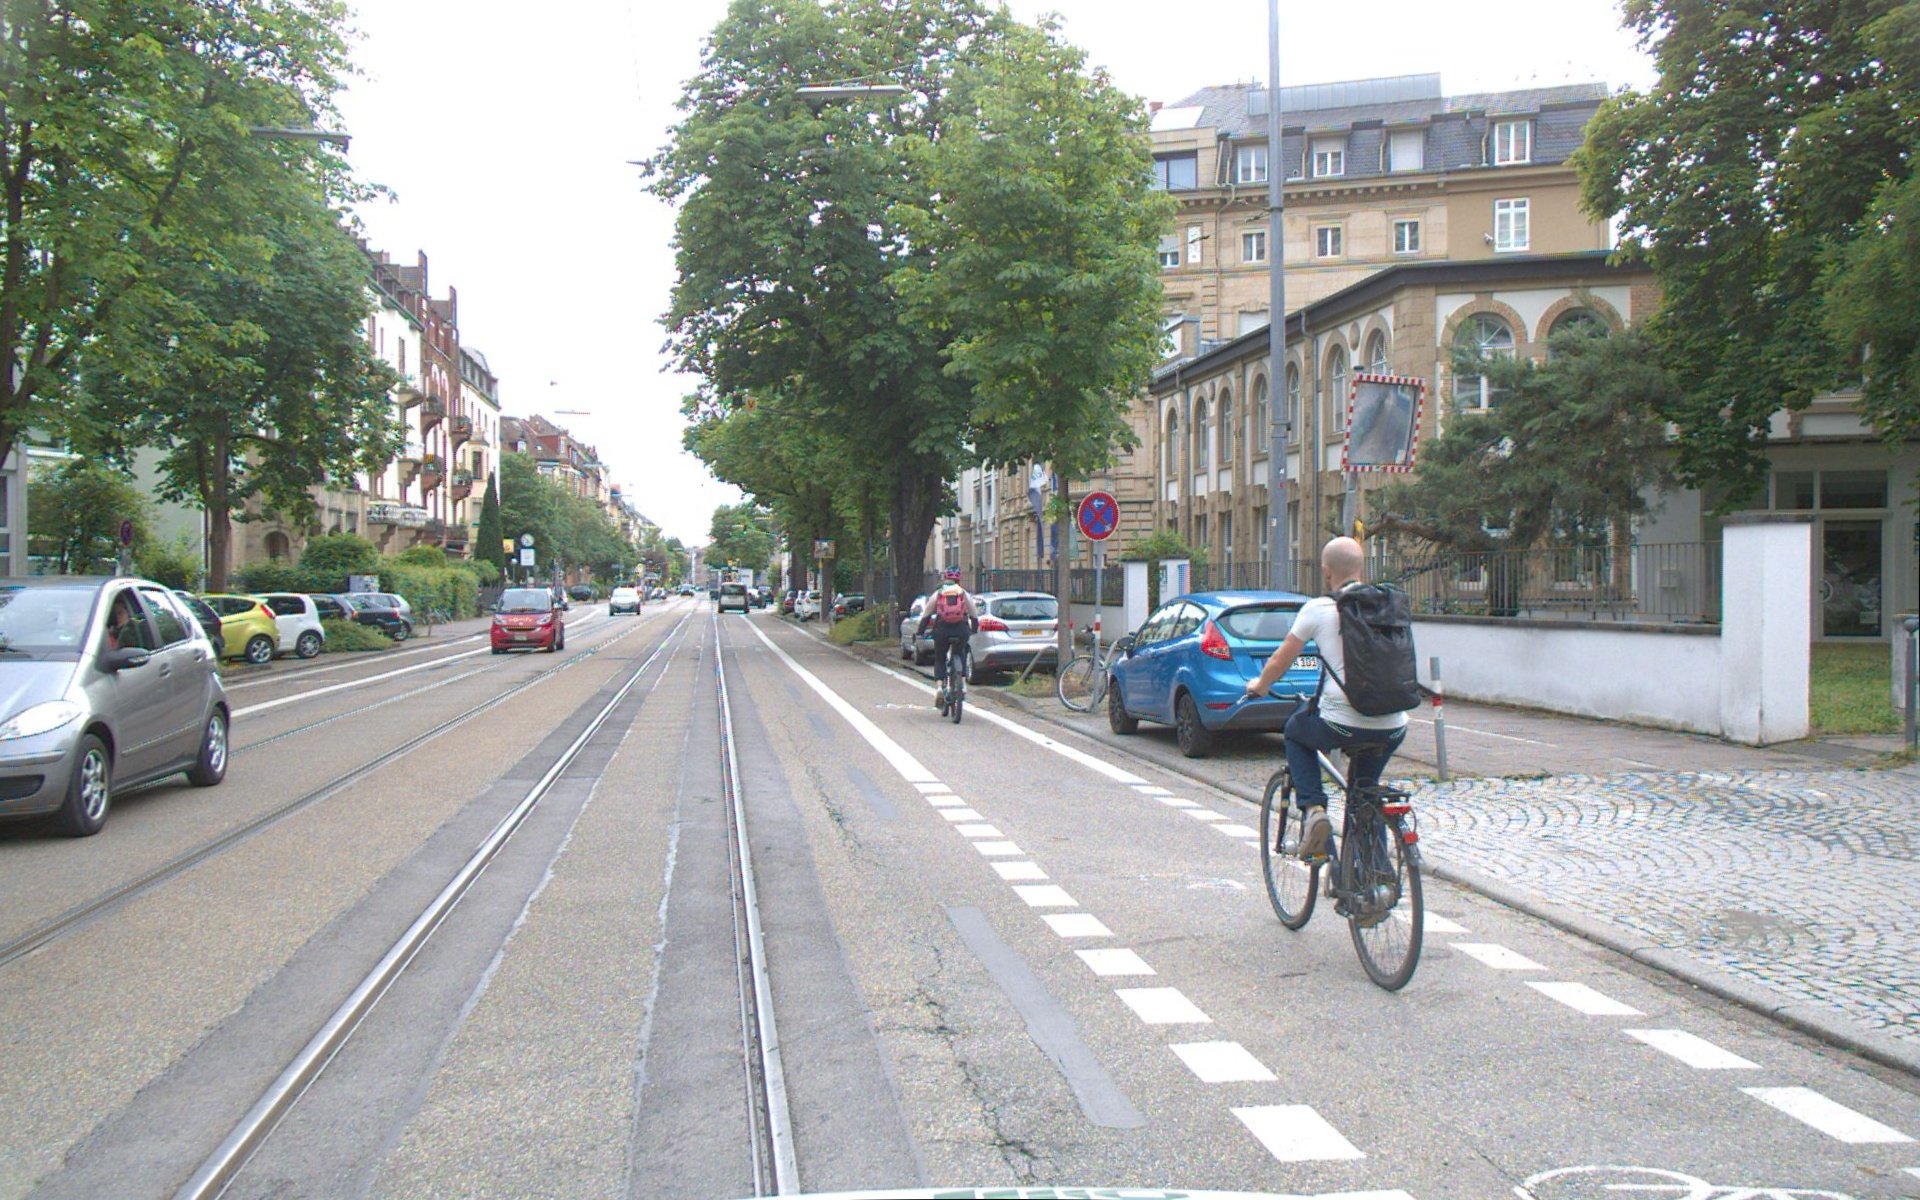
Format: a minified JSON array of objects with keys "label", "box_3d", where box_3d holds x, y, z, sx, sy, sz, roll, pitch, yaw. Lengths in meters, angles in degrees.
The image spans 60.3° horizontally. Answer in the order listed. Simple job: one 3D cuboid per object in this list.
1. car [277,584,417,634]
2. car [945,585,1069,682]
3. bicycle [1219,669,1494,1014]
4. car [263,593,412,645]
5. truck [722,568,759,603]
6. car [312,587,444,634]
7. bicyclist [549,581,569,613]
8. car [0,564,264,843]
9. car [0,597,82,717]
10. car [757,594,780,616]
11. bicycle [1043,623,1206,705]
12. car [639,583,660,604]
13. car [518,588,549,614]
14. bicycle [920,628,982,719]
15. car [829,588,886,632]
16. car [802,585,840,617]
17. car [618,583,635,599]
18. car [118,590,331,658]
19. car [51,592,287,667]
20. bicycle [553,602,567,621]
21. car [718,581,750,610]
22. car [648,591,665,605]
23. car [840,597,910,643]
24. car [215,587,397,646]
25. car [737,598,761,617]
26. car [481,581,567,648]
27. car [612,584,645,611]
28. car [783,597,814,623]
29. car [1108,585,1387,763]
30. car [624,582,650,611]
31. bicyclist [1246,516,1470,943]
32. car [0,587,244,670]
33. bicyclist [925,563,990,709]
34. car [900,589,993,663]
[{"label":"car","box_3d":[-18.337,0.279,49.491,3.673,1.410,1.681,1,0,-33]},{"label":"car","box_3d":[0.728,0.515,27.821,1.448,1.507,3.558,1,0,-9]},{"label":"bicycle","box_3d":[1.584,0.917,6.929,0.650,1.136,1.866,2,1,-1]},{"label":"car","box_3d":[-17.570,0.531,46.699,3.673,1.410,1.681,1,0,-33]},{"label":"truck","box_3d":[-26.587,-1.799,200.058,3.740,4.100,10.189,-1,1,-12]},{"label":"car","box_3d":[-18.488,0.345,52.597,3.673,1.410,1.681,1,0,-33]},{"label":"bicyclist","box_3d":[-19.618,-0.138,80.931,0.827,1.526,1.025,-1,0,-8]},{"label":"car","box_3d":[-6.163,0.585,11.064,1.865,1.557,3.747,-2,1,-9]},{"label":"car","box_3d":[-13.393,0.709,20.320,1.666,1.479,4.330,1,0,36]},{"label":"car","box_3d":[-18.711,0.450,161.365,1.957,2.049,3.990,-1,1,-10]},{"label":"bicycle","box_3d":[2.066,0.791,20.779,1.977,0.973,0.532,-1,1,-13]},{"label":"car","box_3d":[-34.995,-0.772,186.417,2.164,2.295,3.992,-1,1,-9]},{"label":"car","box_3d":[-37.701,0.080,146.303,2.136,2.246,4.211,-1,1,-8]},{"label":"bicycle","box_3d":[-0.122,0.832,19.324,0.480,0.997,2.054,1,-1,-7]},{"label":"car","box_3d":[-3.575,0.326,57.174,1.757,1.423,3.790,-1,1,-6]},{"label":"car","box_3d":[-6.415,0.043,75.957,1.635,1.423,3.656,-1,1,-6]},{"label":"car","box_3d":[-46.412,-1.274,230.078,1.785,2.103,3.876,-1,1,-5]},{"label":"car","box_3d":[-15.953,0.500,36.034,1.666,1.375,3.953,1,0,36]},{"label":"car","box_3d":[-15.703,0.554,33.001,1.666,1.375,3.953,1,0,36]},{"label":"bicycle","box_3d":[-19.556,0.573,80.859,0.460,0.884,2.135,-1,1,-8]},{"label":"car","box_3d":[-13.759,-0.277,100.826,1.777,1.738,3.694,0,0,-6]},{"label":"car","box_3d":[-38.307,-0.261,208.719,1.738,1.672,3.563,-1,1,-5]},{"label":"car","box_3d":[-2.548,0.560,48.823,1.837,1.273,3.995,-1,1,-6]},{"label":"car","box_3d":[-16.245,0.394,41.213,1.666,1.375,3.953,1,0,36]},{"label":"car","box_3d":[-16.260,0.582,127.751,1.736,1.423,3.790,-1,1,-6]},{"label":"car","box_3d":[-10.422,0.346,39.721,1.645,1.549,2.777,0,0,-8]},{"label":"car","box_3d":[-18.446,-0.136,91.967,1.710,1.454,3.987,-1,1,-13]},{"label":"car","box_3d":[-9.366,0.577,95.834,1.736,1.423,3.790,-1,1,-6]},{"label":"car","box_3d":[2.668,0.619,16.102,1.643,1.486,3.425,-2,1,-9]},{"label":"car","box_3d":[-27.877,-0.317,142.794,2.165,2.459,3.990,-1,1,-10]},{"label":"bicyclist","box_3d":[1.582,0.484,6.712,0.648,1.597,0.986,1,0,-1]},{"label":"car","box_3d":[-15.192,0.488,29.747,1.666,1.375,3.953,1,0,36]},{"label":"bicyclist","box_3d":[-0.034,0.402,19.181,0.645,1.638,0.918,0,0,-7]},{"label":"car","box_3d":[-0.338,0.511,34.884,1.448,1.453,3.558,-1,1,-9]}]
